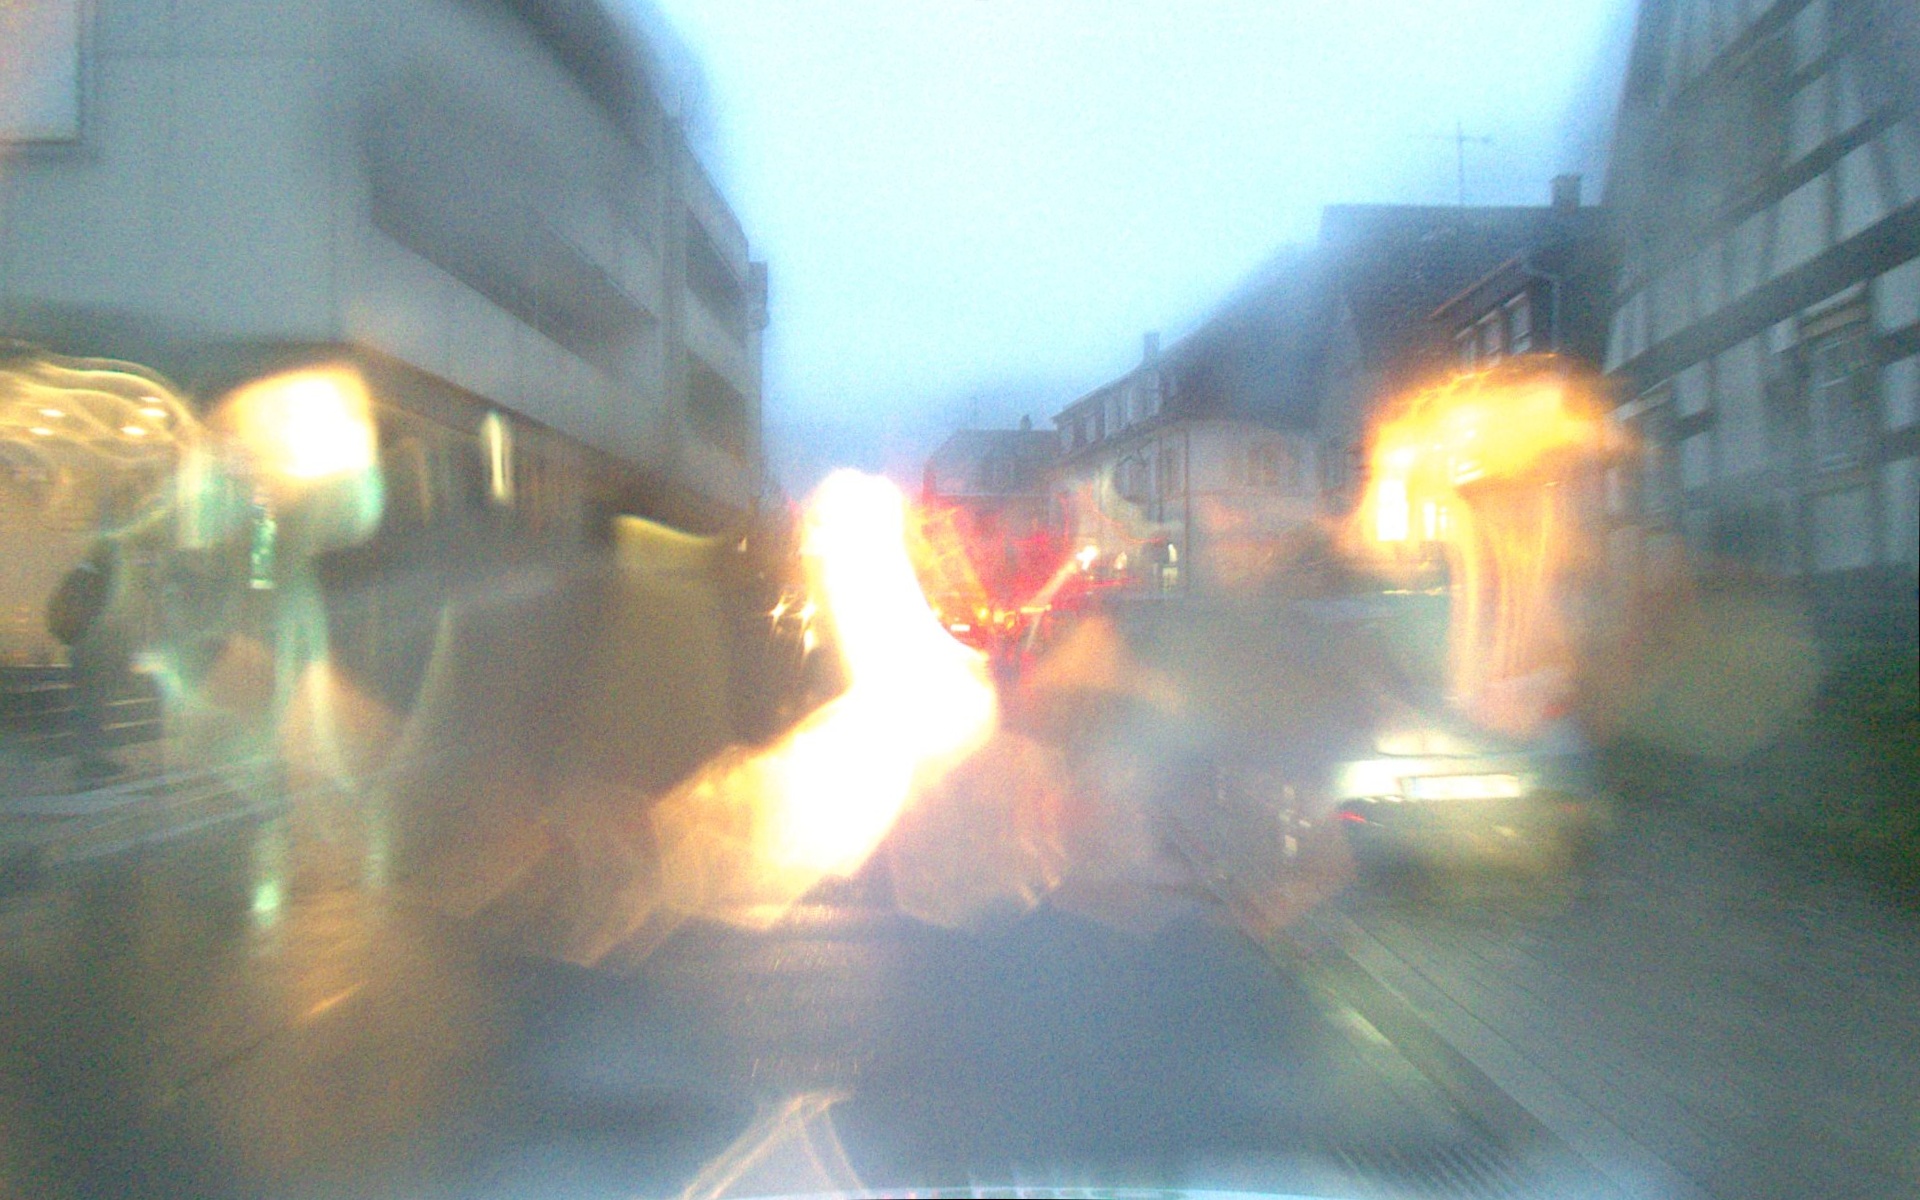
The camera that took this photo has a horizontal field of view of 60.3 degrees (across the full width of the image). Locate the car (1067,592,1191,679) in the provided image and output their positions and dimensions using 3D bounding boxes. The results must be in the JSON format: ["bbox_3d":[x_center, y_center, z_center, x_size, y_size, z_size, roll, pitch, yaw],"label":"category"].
[{"bbox_3d":[3.116,0.632,31.359,1.786,1.448,4.607,-2,0,-1],"label":"car"}]

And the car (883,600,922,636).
[{"bbox_3d":[-2.549,0.767,72.722,1.605,1.507,3.269,1,0,-3],"label":"car"}]

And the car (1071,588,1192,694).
[{"bbox_3d":[2.600,0.591,25.734,1.592,1.466,3.801,-2,0,2],"label":"car"}]

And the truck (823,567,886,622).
[{"bbox_3d":[-6.500,-0.340,101.095,2.960,3.183,7.982,1,0,-10],"label":"truck"}]

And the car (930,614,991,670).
[{"bbox_3d":[-0.014,1.193,47.919,1.605,1.507,3.377,1,0,-3],"label":"car"}]

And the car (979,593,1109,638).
[{"bbox_3d":[2.999,0.530,59.366,4.384,1.499,1.894,-1,0,-9],"label":"car"}]

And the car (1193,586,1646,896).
[{"bbox_3d":[2.581,0.708,10.280,1.696,1.484,4.000,-2,0,1],"label":"car"}]

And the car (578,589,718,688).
[{"bbox_3d":[-5.348,0.629,28.794,1.582,1.559,3.929,2,0,1],"label":"car"}]

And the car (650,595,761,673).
[{"bbox_3d":[-5.243,0.665,34.509,1.641,1.472,4.427,2,0,-1],"label":"car"}]

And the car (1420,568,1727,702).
[{"bbox_3d":[7.744,0.436,21.093,3.223,1.466,1.686,-3,-1,-1],"label":"car"}]

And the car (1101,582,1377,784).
[{"bbox_3d":[2.423,0.669,15.435,1.728,1.553,4.389,-2,0,-1],"label":"car"}]

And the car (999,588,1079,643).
[{"bbox_3d":[2.381,0.436,51.054,1.846,1.574,4.666,-1,0,-5],"label":"car"}]

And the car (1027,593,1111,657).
[{"bbox_3d":[2.719,0.603,42.205,1.758,1.486,4.530,-2,0,-1],"label":"car"}]

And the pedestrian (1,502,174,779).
[{"bbox_3d":[-6.618,0.279,12.529,0.966,1.972,1.186,0,0,-38],"label":"pedestrian"}]

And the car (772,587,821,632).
[{"bbox_3d":[-6.384,0.343,64.339,1.760,1.671,3.806,1,0,-7],"label":"car"}]

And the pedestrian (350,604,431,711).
[{"bbox_3d":[-7.311,0.722,21.266,0.740,1.333,0.828,1,0,-1],"label":"pedestrian"}]
